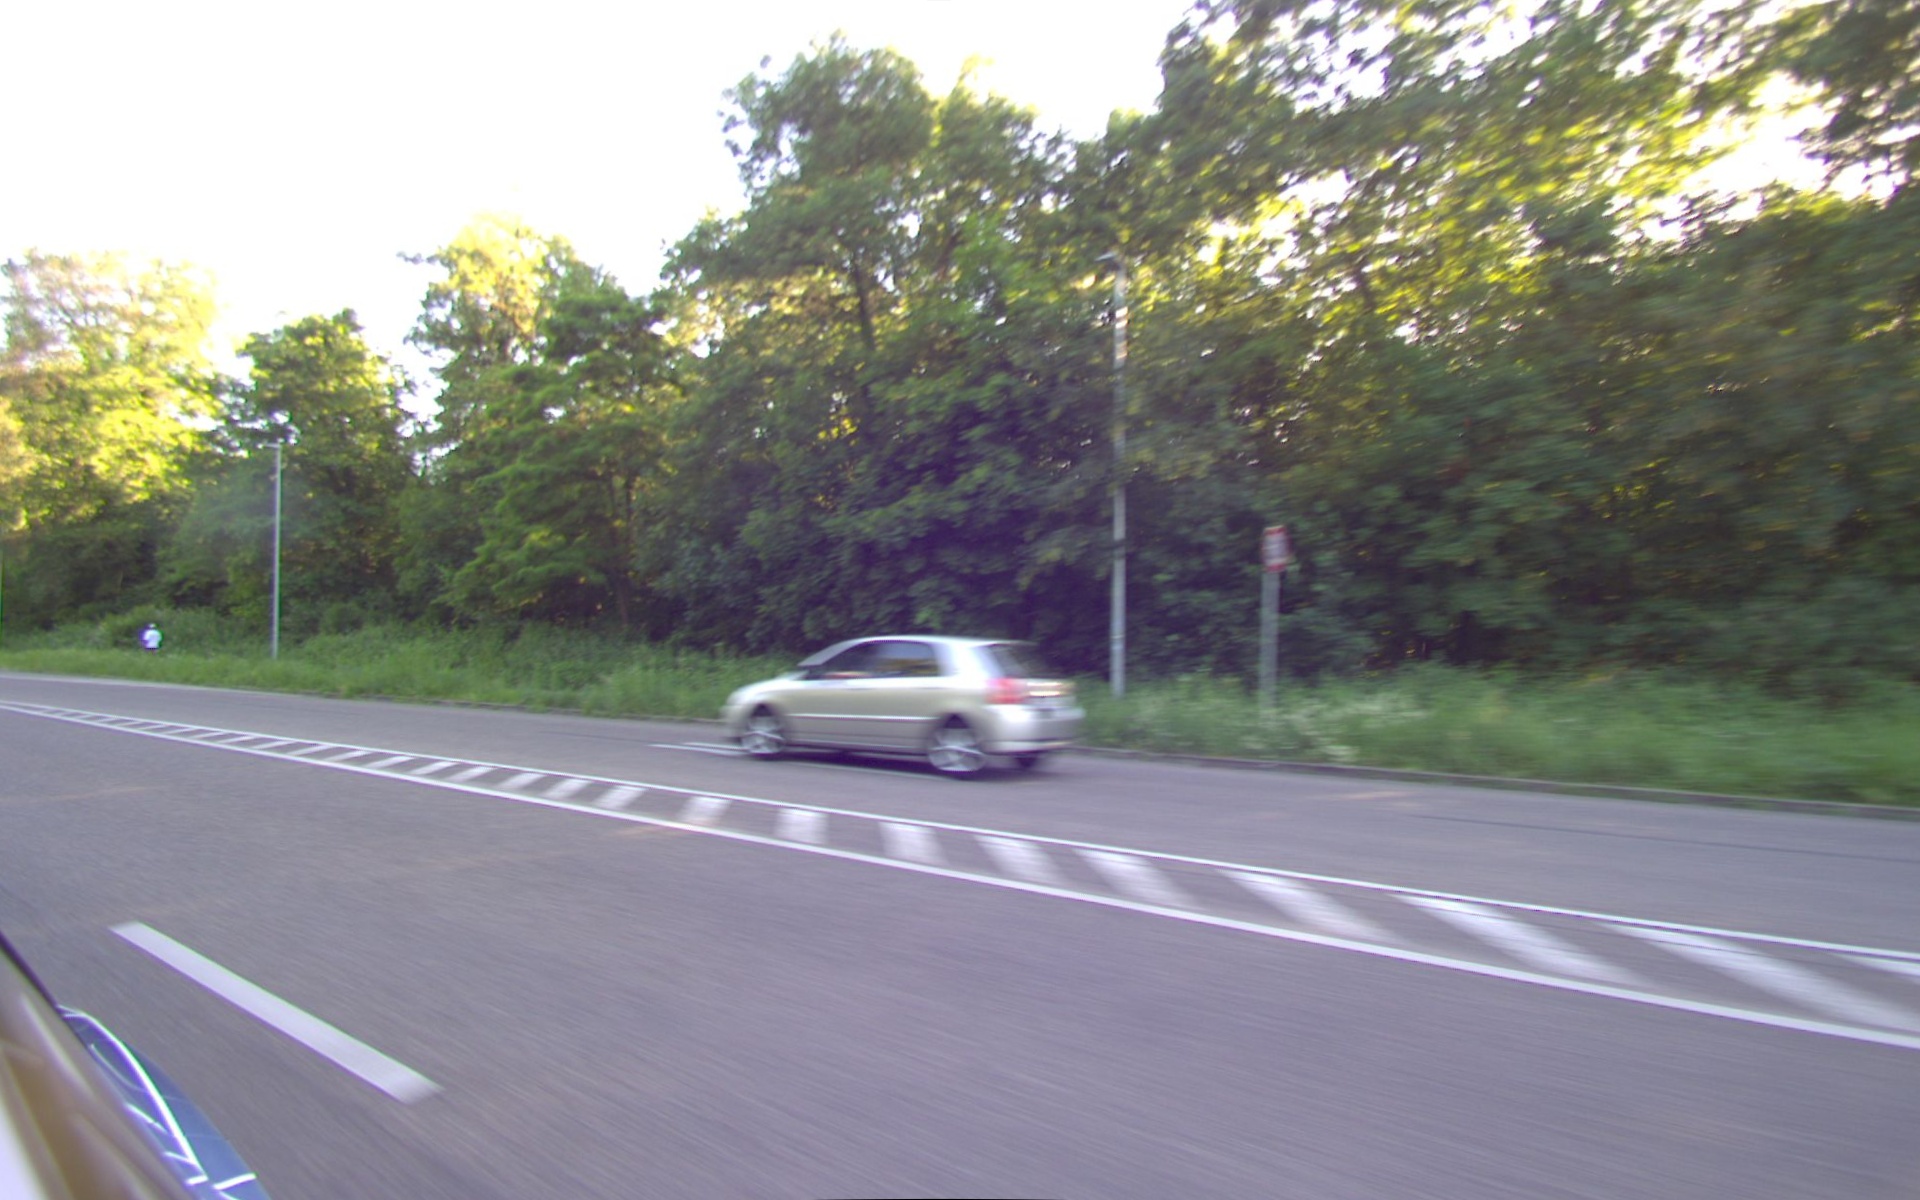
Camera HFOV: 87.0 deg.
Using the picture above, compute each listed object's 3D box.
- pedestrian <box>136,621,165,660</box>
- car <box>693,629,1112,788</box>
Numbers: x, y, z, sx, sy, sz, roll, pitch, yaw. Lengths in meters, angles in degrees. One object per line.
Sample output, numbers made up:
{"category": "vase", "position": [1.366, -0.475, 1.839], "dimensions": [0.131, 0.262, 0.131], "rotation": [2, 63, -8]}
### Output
{"category": "pedestrian", "position": [-33.483, 1.680, 41.840], "dimensions": [0.824, 1.577, 0.705], "rotation": [-1, -3, 37]}
{"category": "car", "position": [-0.720, 1.102, 11.383], "dimensions": [4.466, 1.466, 1.814], "rotation": [-1, -5, 32]}
